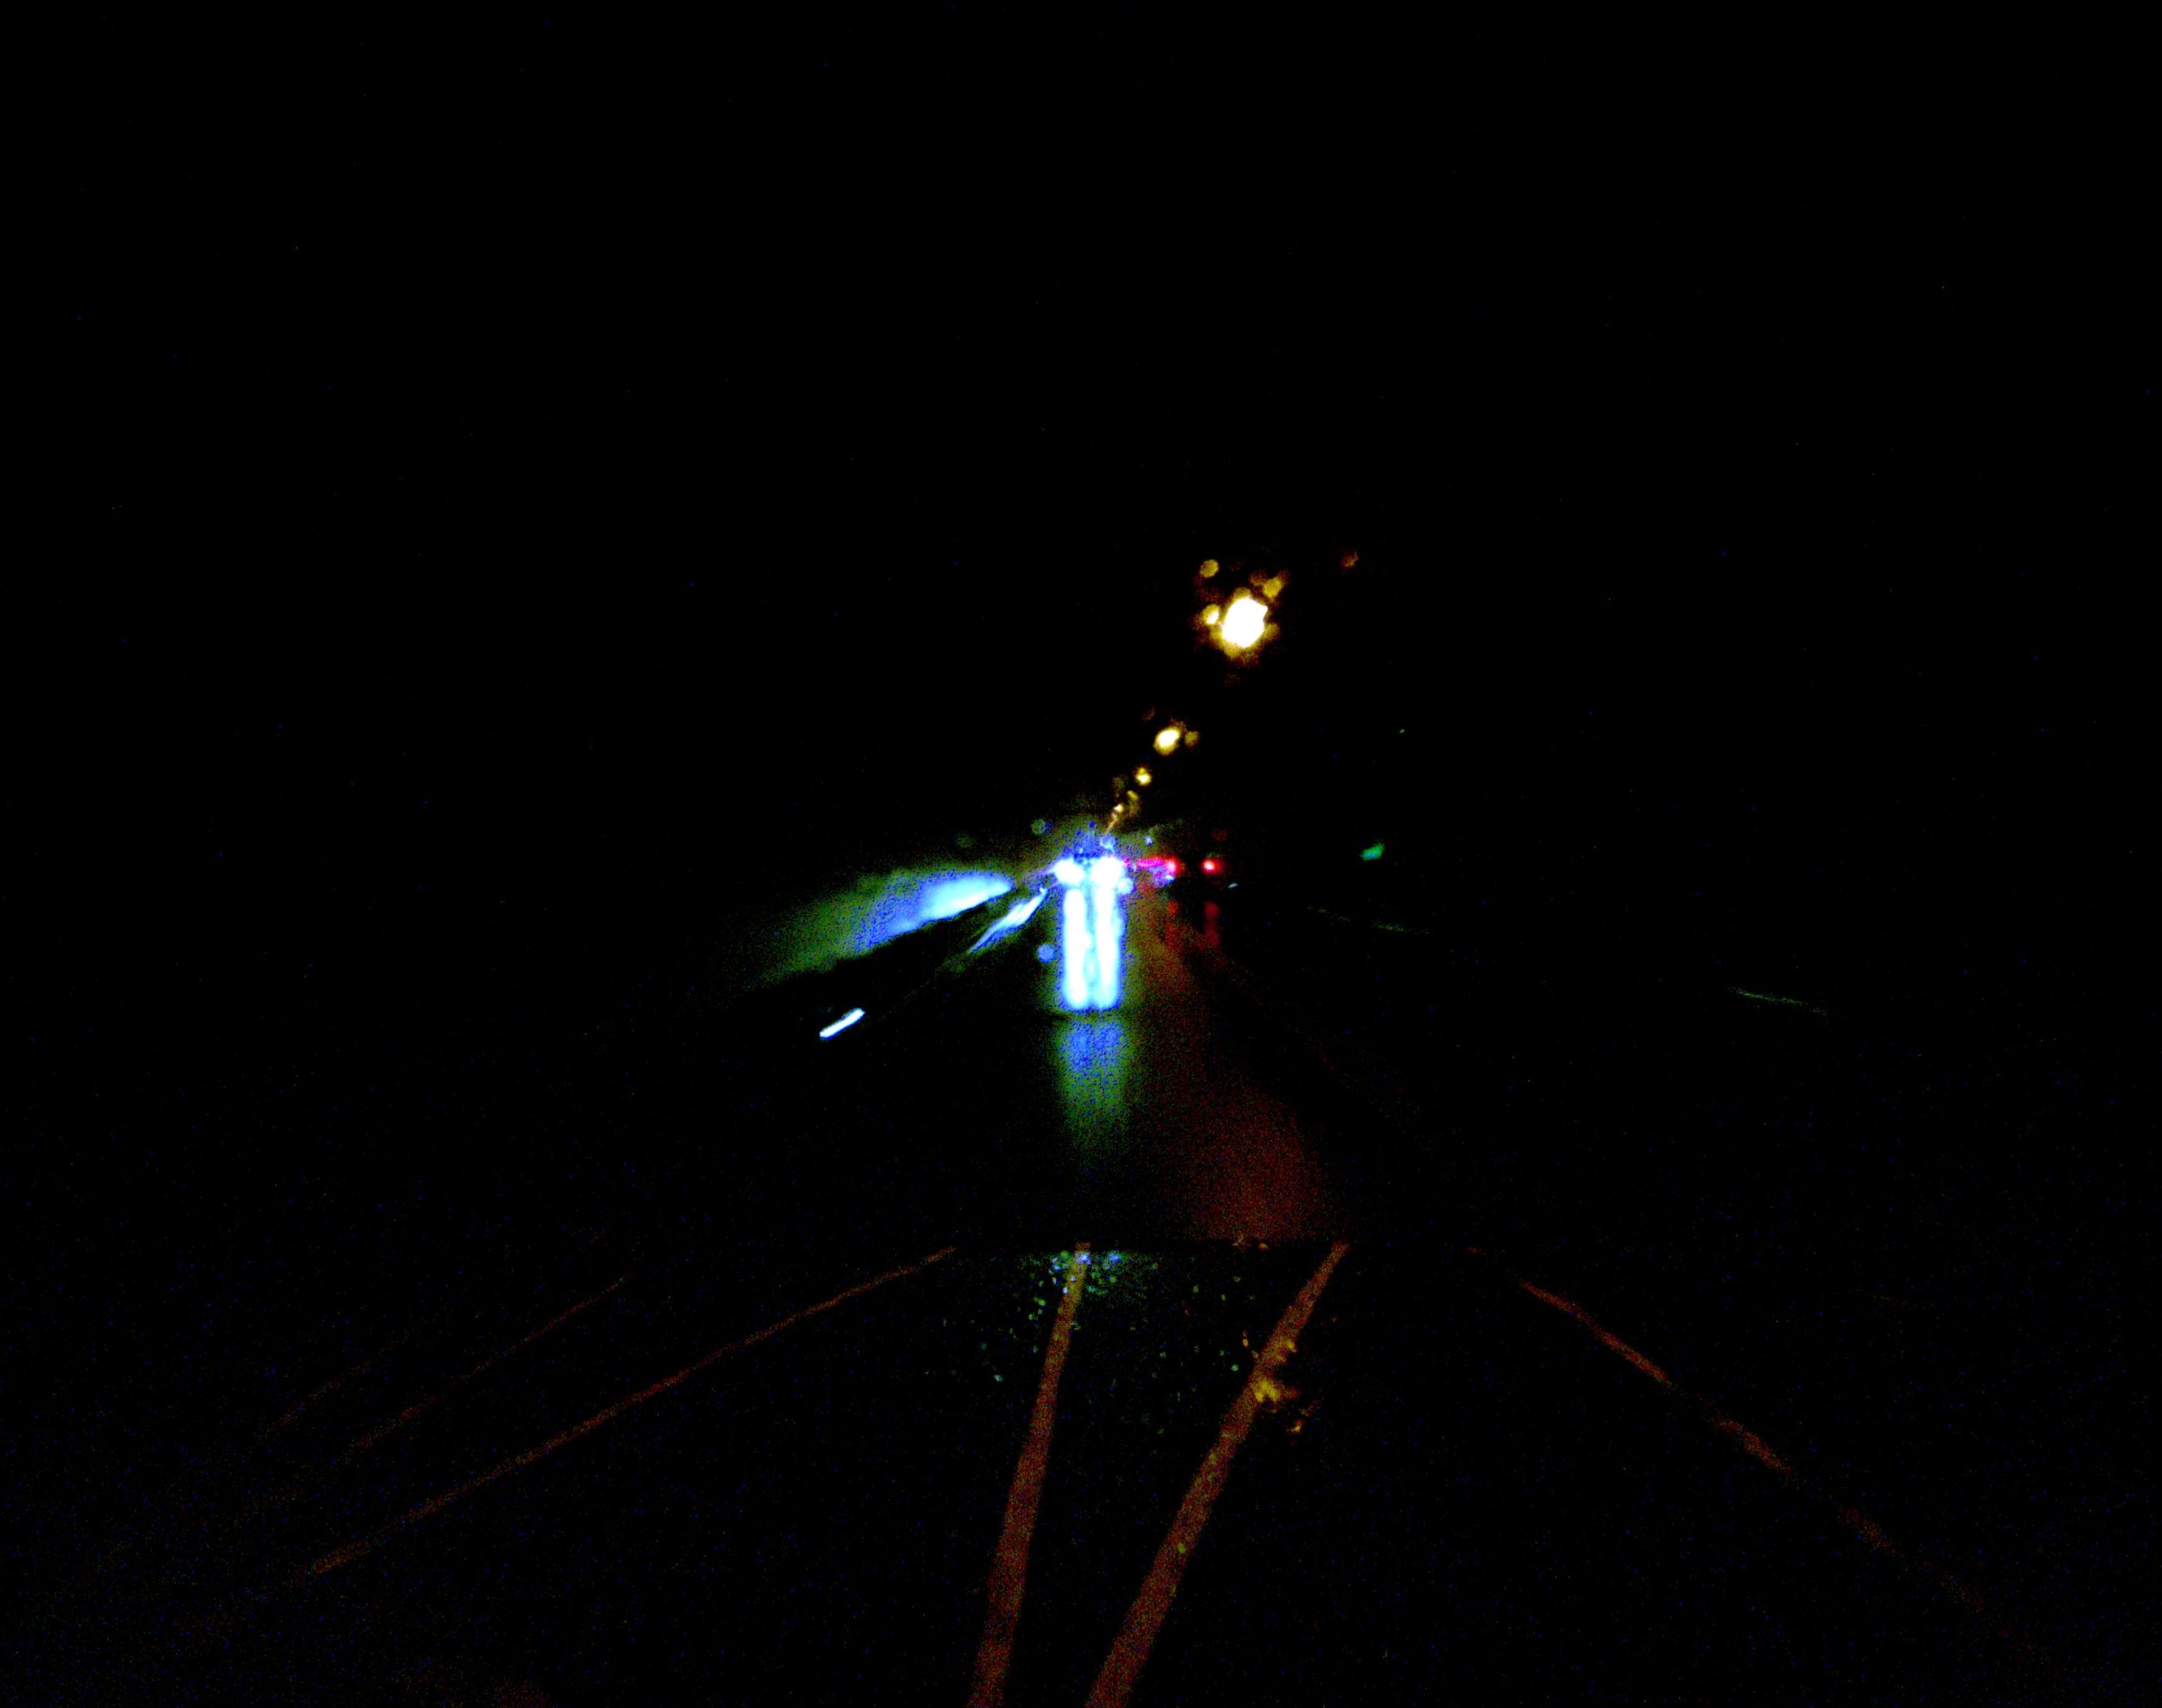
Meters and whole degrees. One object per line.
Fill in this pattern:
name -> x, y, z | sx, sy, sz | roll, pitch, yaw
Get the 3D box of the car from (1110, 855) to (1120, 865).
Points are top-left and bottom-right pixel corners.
car -> 5.675, 0.981, 126.846 | 1.639, 1.618, 4.145 | -1, 0, 1

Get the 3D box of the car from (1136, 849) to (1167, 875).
car -> 4.704, 0.484, 51.303 | 1.785, 1.666, 4.561 | -1, 0, 1

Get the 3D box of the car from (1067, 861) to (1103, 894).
car -> 0.217, 1.095, 36.592 | 1.627, 1.487, 3.585 | -1, 0, 1

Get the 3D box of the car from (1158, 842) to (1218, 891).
car -> 4.013, 0.440, 29.031 | 1.918, 1.718, 4.001 | -1, 0, 3

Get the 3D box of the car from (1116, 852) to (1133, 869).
car -> 5.020, 0.706, 88.391 | 1.785, 1.917, 5.138 | -1, 0, 1
